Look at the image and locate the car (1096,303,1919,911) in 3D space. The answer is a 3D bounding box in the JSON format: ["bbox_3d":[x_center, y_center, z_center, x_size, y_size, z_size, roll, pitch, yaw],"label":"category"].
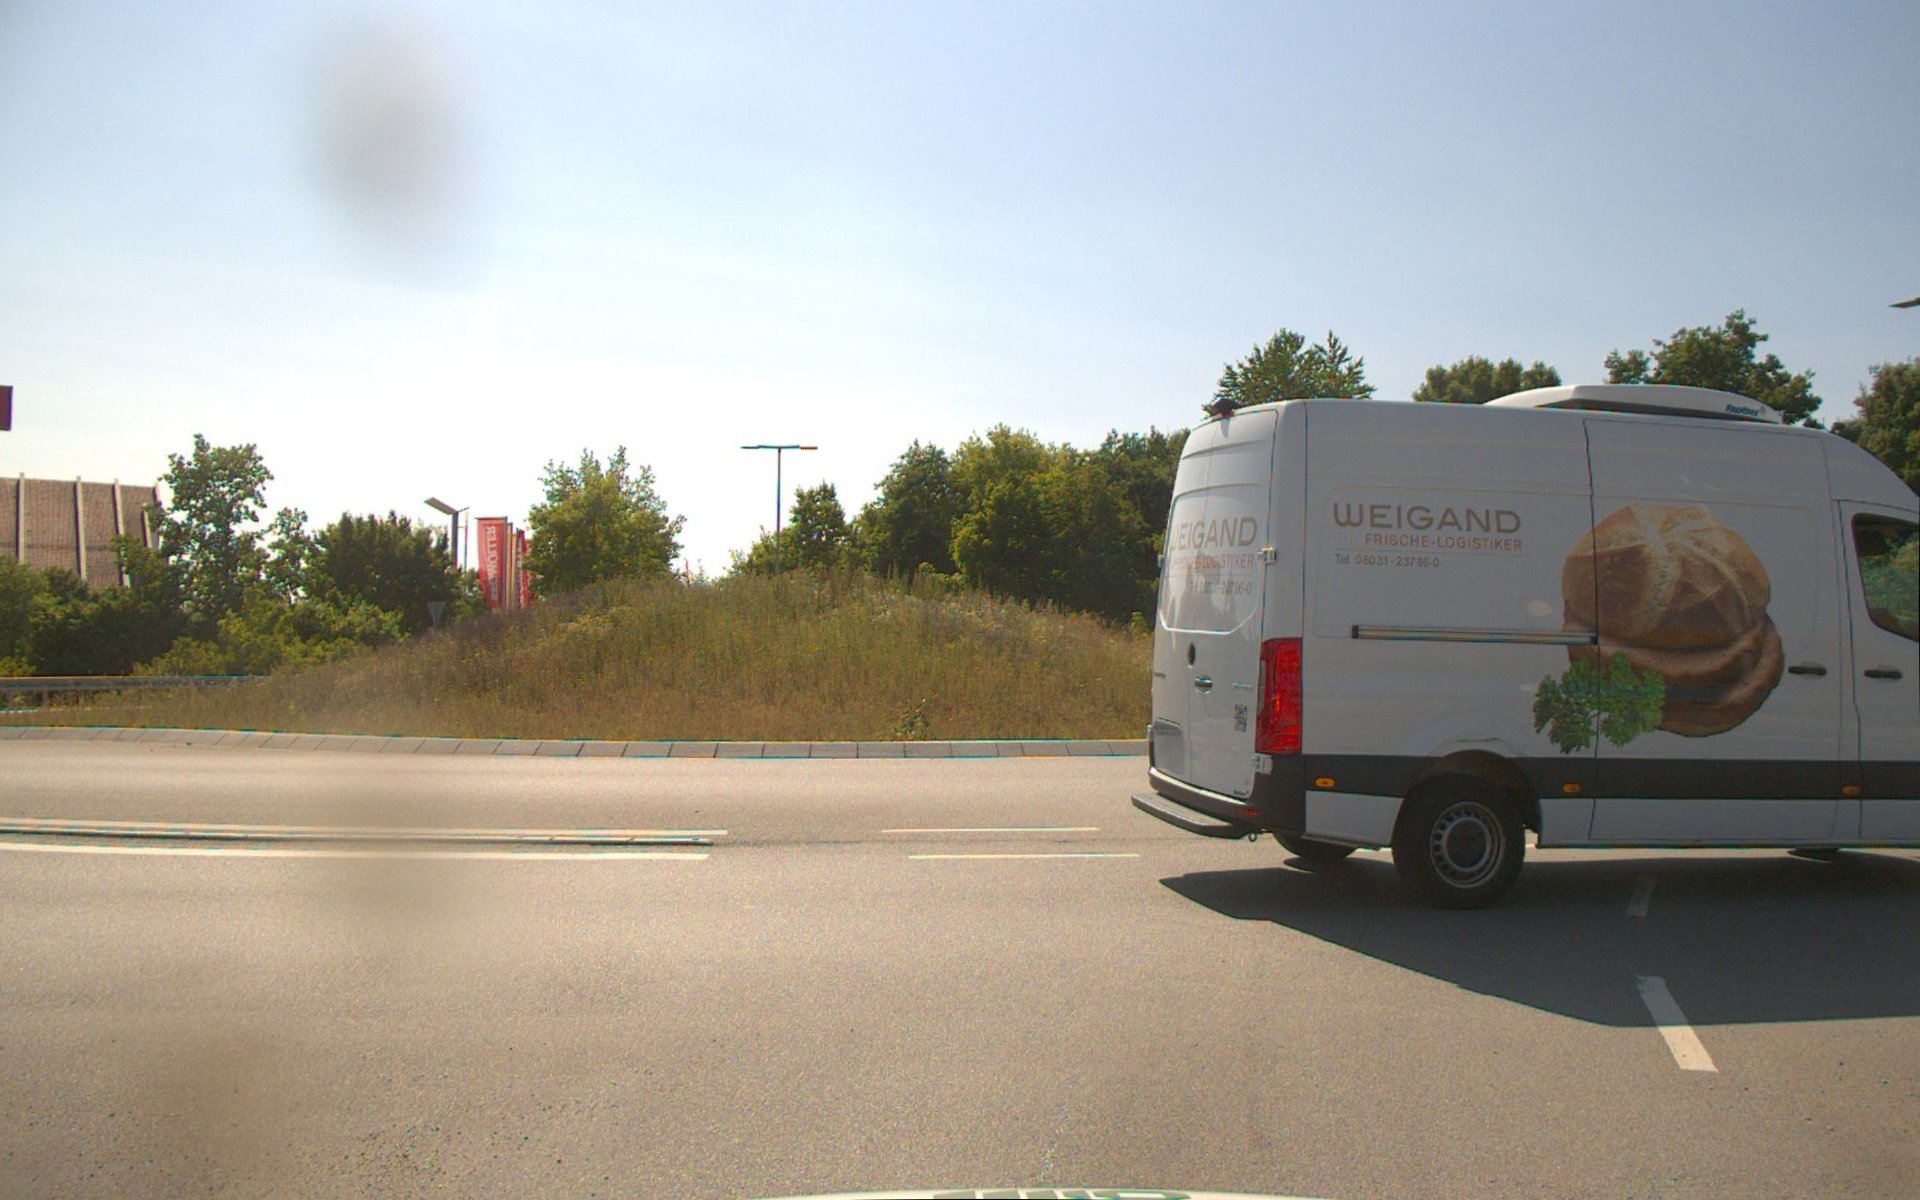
[{"bbox_3d":[3.975,0.069,9.735,6.010,2.972,2.078,1,-1,-12],"label":"car"}]
